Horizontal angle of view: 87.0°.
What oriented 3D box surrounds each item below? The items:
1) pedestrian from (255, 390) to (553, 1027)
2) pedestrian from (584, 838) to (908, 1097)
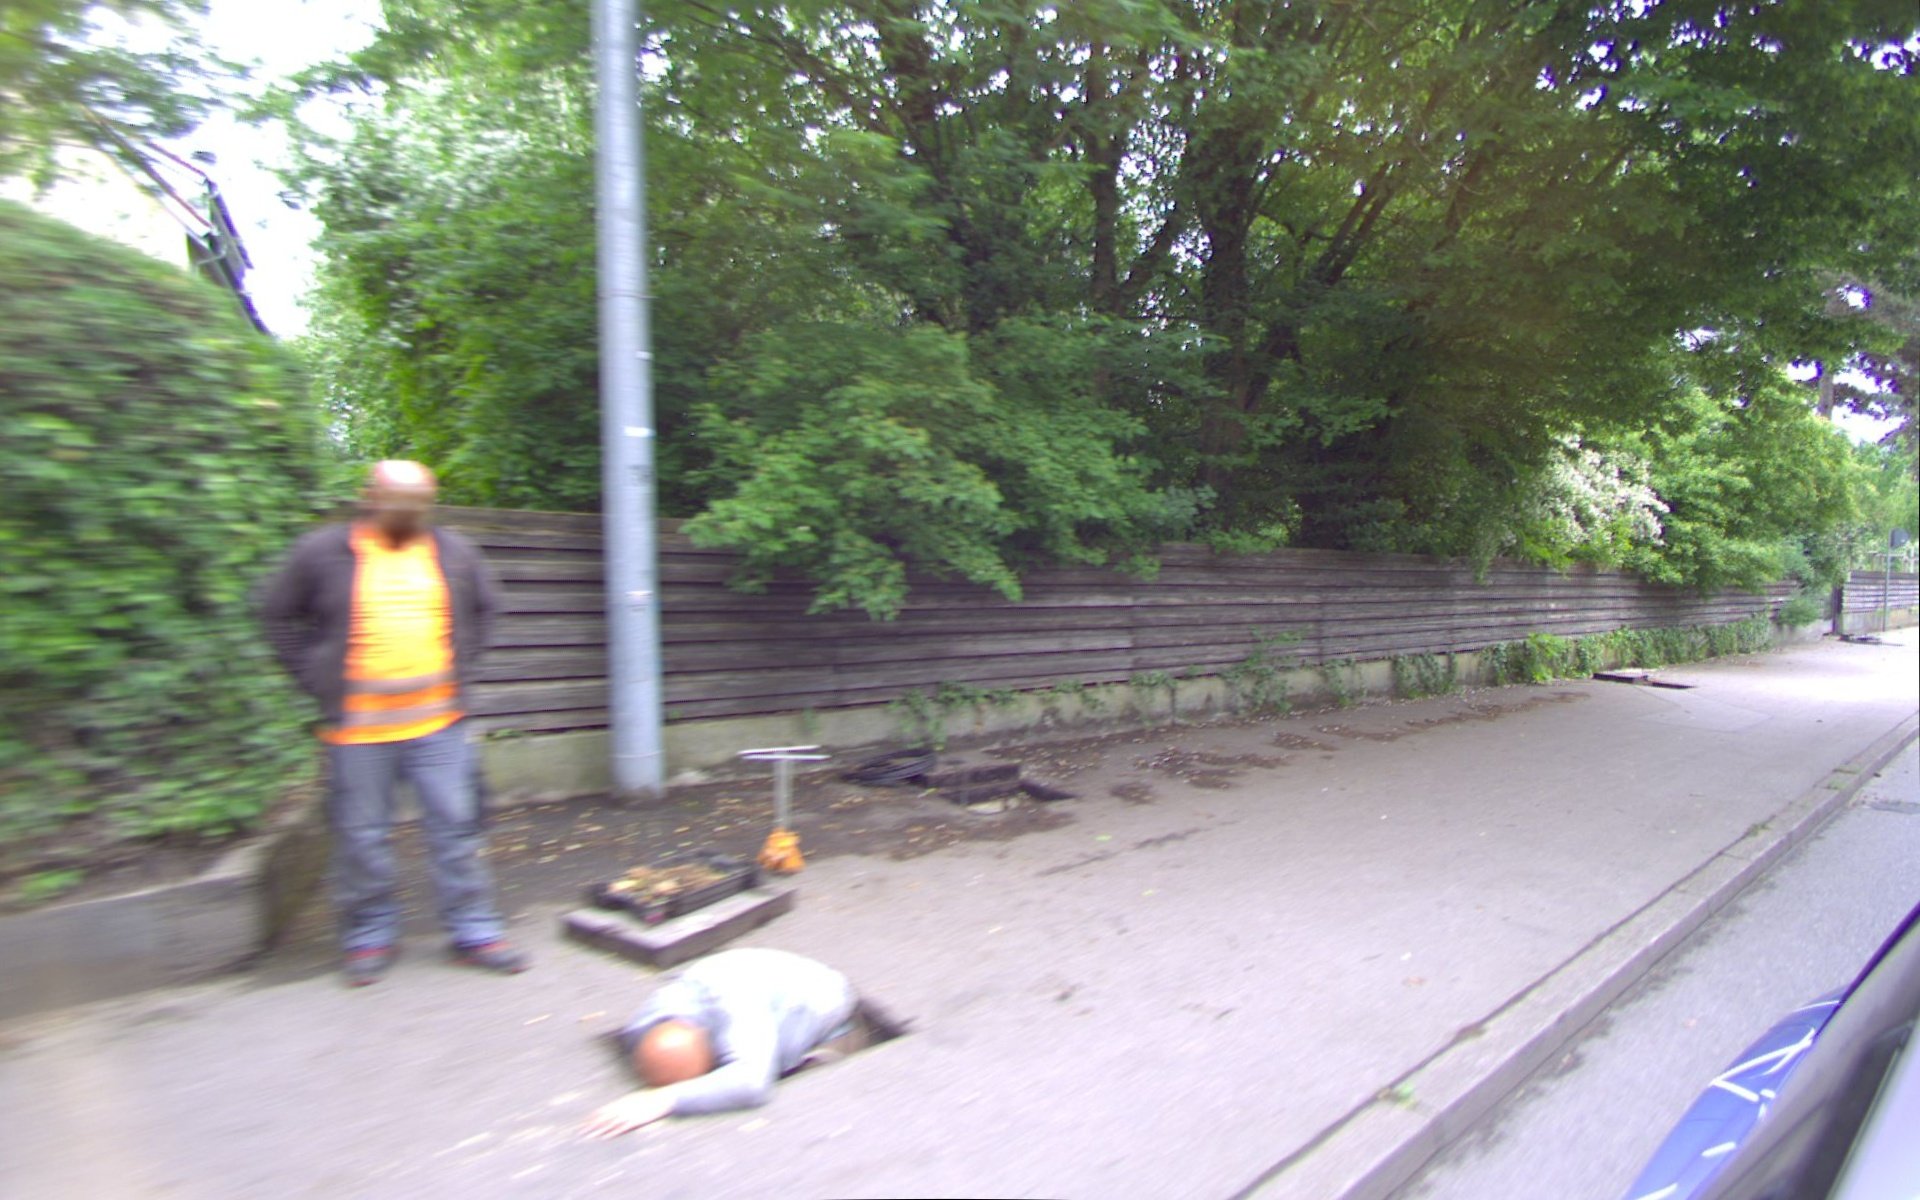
[{"bbox_3d":[-1.905,0.299,3.445,0.728,1.829,0.808,0,2,-41],"label":"pedestrian"},{"bbox_3d":[-0.653,1.053,3.075,0.728,0.398,0.673,-1,2,-41],"label":"pedestrian"}]
